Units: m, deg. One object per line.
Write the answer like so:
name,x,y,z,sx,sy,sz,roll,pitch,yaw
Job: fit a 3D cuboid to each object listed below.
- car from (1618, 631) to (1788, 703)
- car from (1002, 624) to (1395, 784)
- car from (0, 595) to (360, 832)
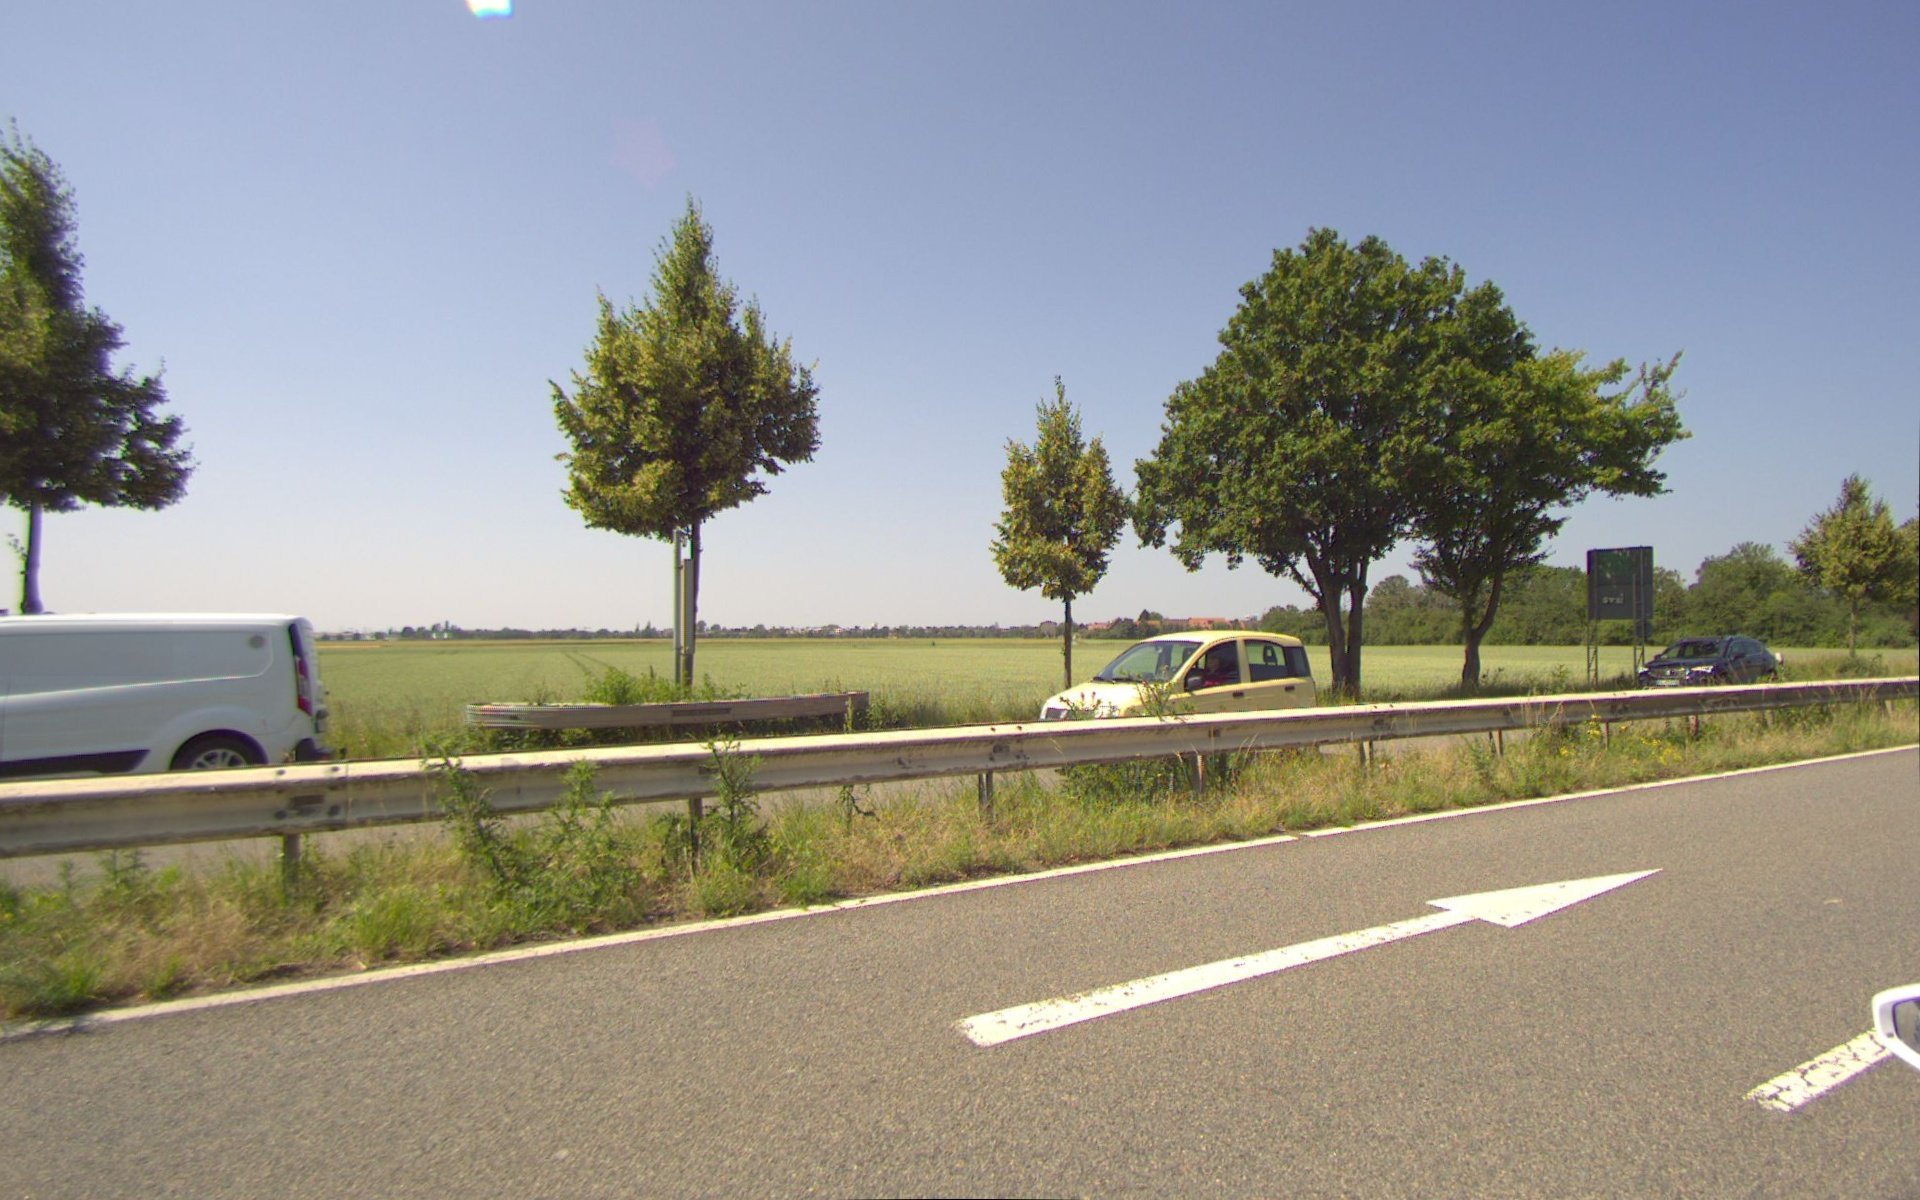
car,19.092,1.663,25.777,4.429,1.684,1.983,1,-2,-31
car,2.885,1.087,11.938,4.428,1.577,1.984,1,-1,-30
car,-8.449,0.969,9.348,4.871,1.986,1.983,1,-1,-31
